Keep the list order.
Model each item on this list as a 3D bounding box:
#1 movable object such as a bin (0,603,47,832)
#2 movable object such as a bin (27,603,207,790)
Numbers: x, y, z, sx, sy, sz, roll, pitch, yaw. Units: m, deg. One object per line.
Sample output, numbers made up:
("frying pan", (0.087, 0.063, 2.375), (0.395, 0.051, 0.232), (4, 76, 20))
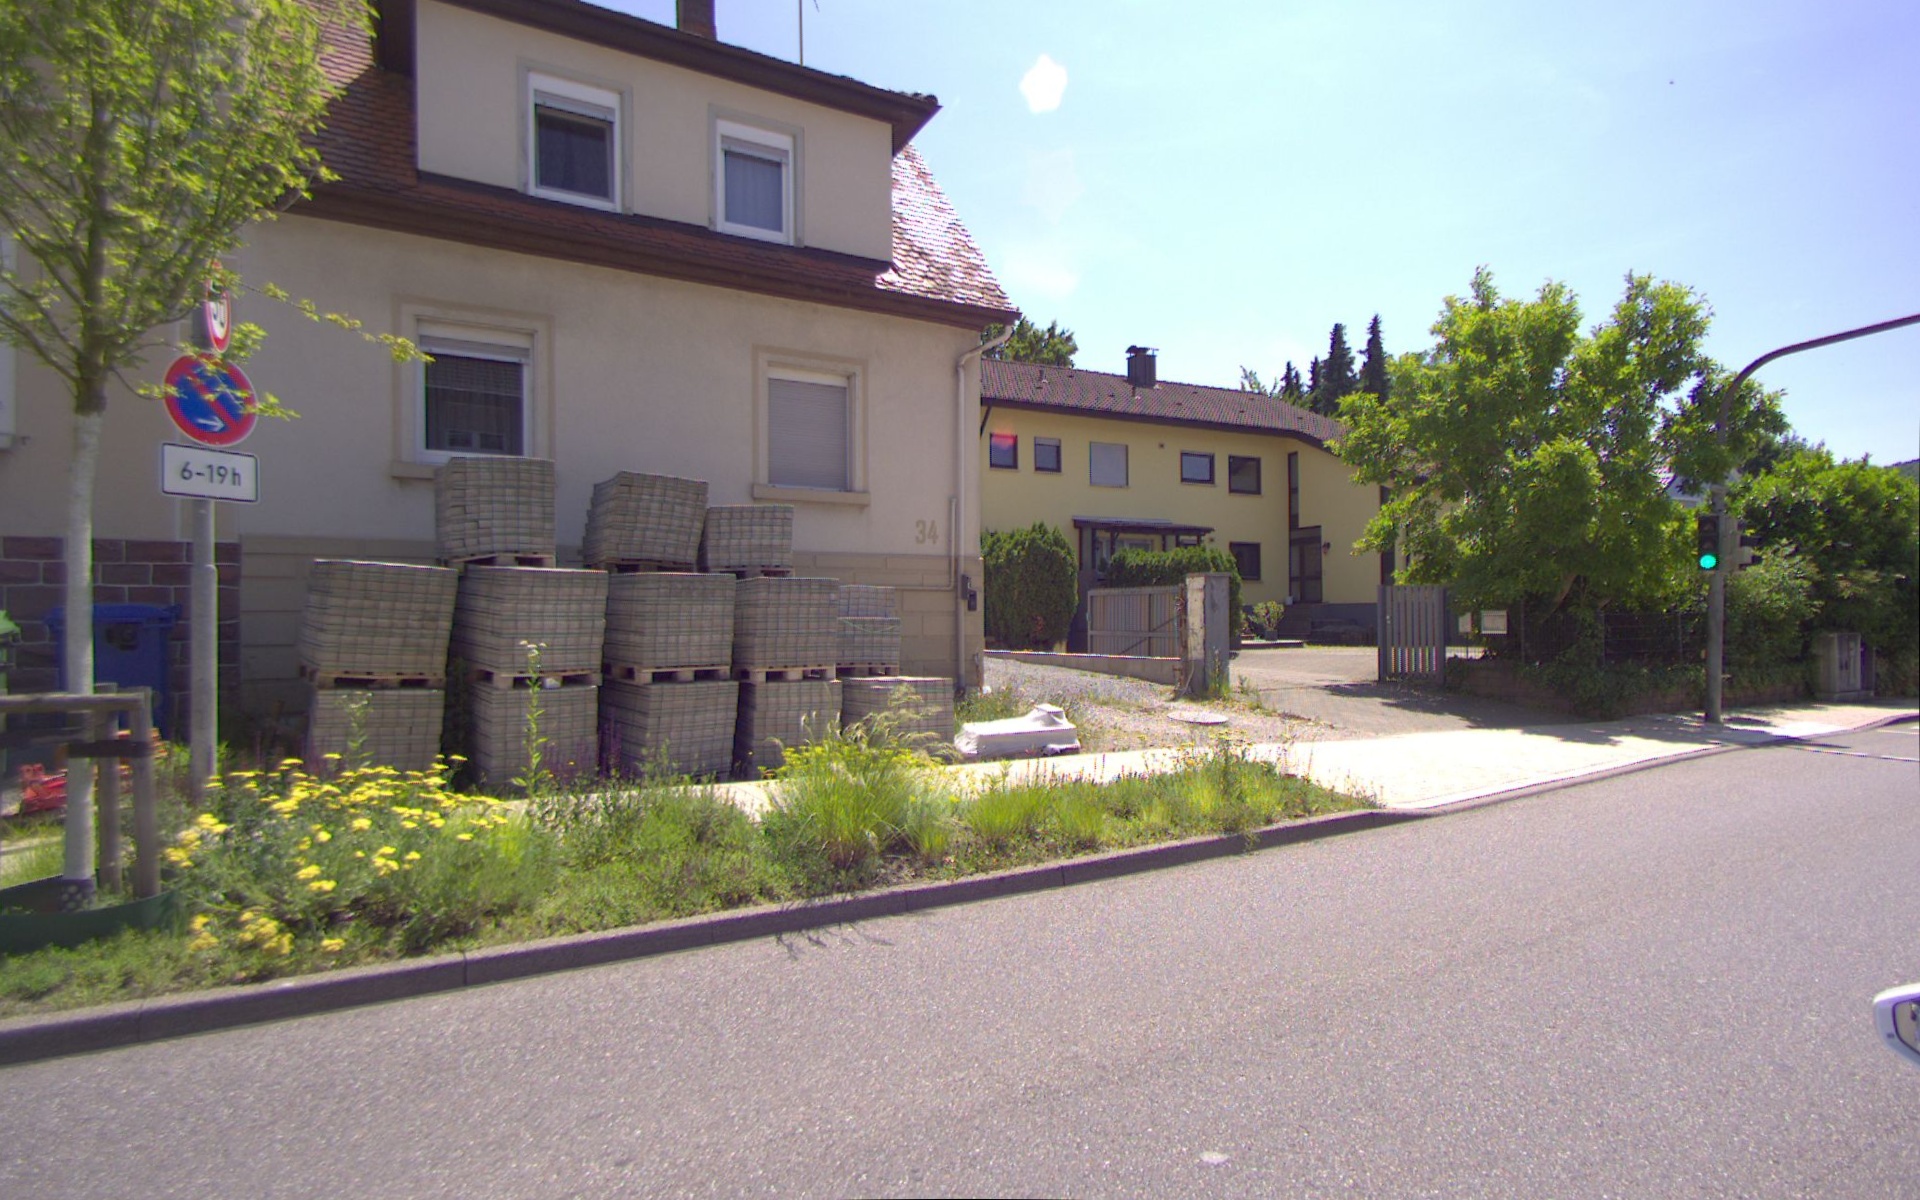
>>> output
("movable object such as a bin", (-6.349, 0.705, 5.755), (1.385, 1.337, 0.986), (-1, 1, -26))
("movable object such as a bin", (-6.496, 0.682, 7.821), (0.879, 1.285, 1.229), (-2, 1, -33))
